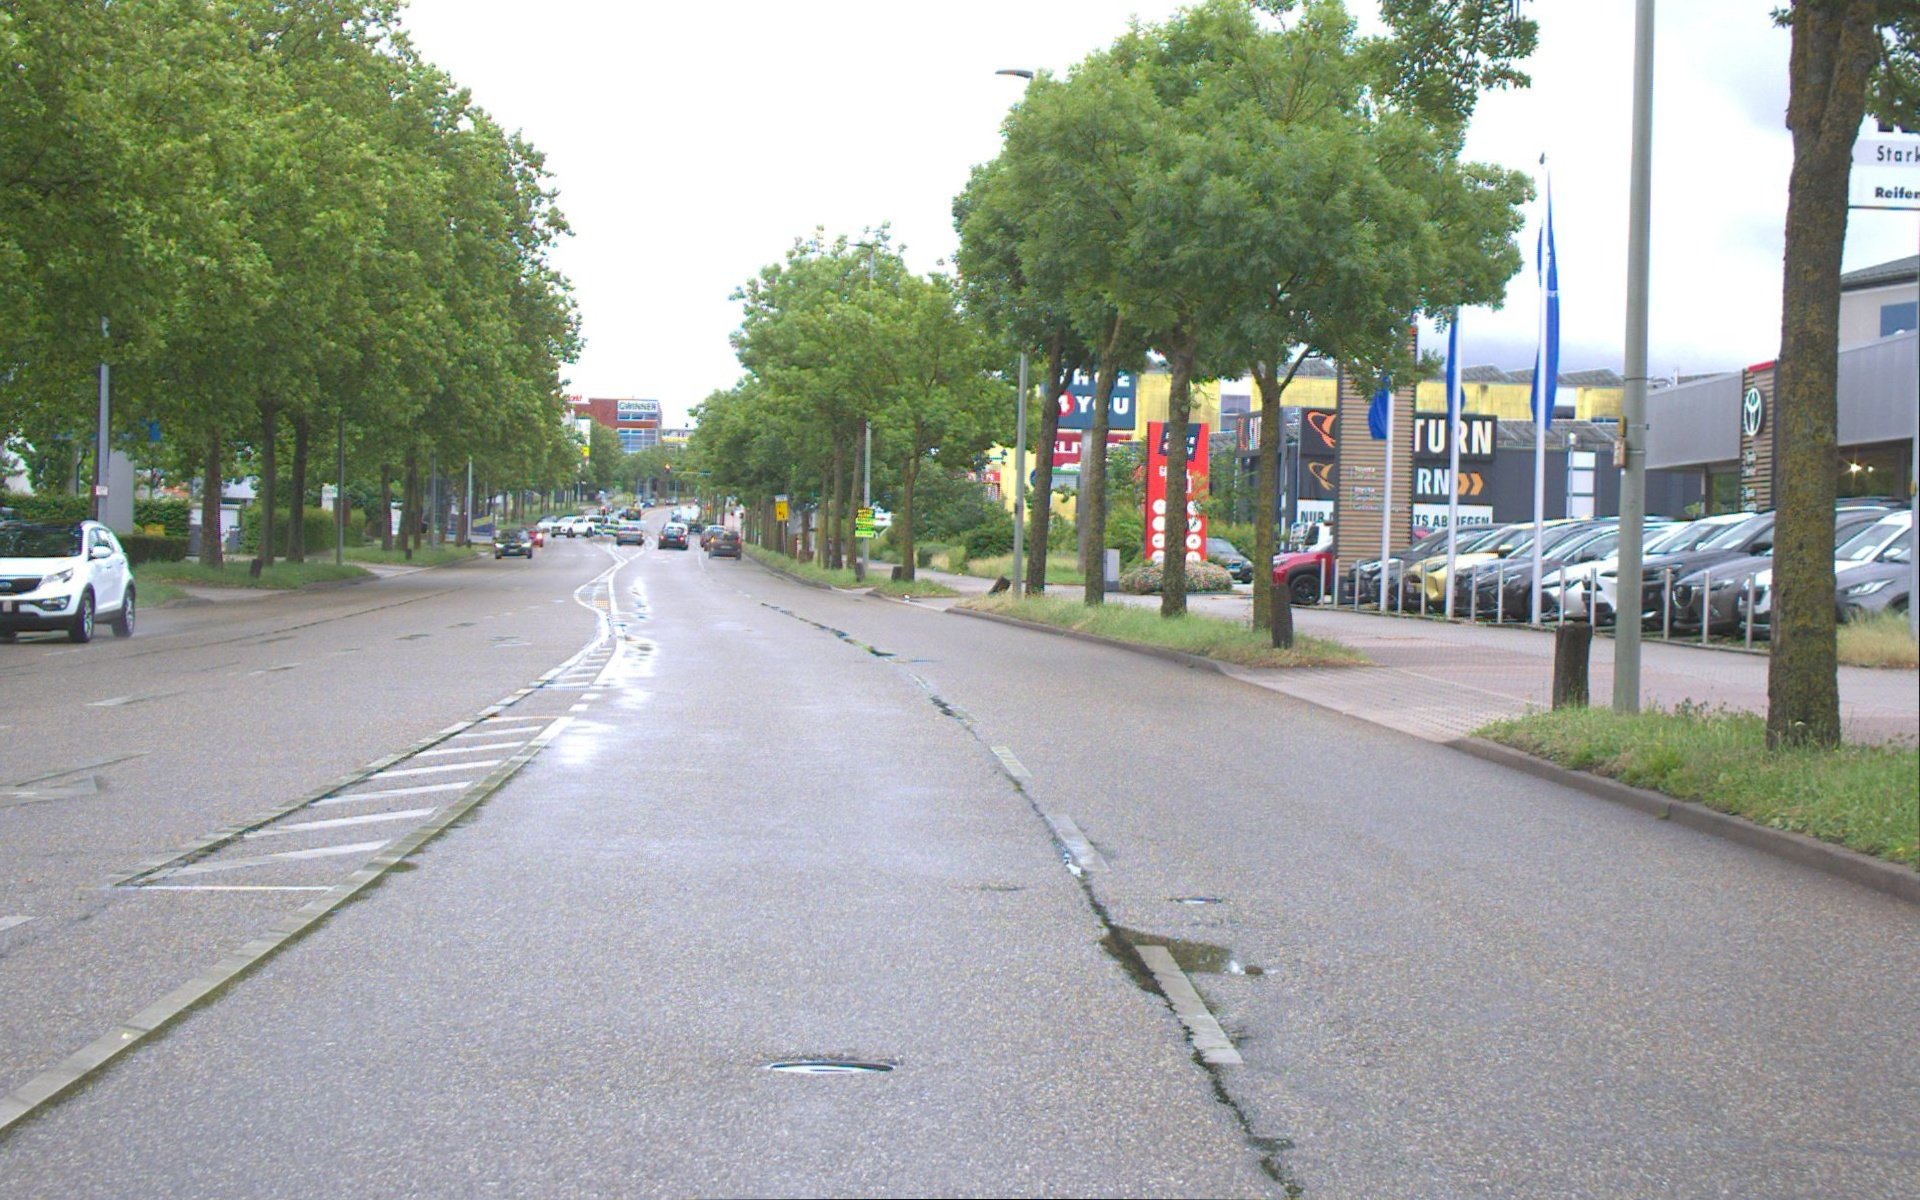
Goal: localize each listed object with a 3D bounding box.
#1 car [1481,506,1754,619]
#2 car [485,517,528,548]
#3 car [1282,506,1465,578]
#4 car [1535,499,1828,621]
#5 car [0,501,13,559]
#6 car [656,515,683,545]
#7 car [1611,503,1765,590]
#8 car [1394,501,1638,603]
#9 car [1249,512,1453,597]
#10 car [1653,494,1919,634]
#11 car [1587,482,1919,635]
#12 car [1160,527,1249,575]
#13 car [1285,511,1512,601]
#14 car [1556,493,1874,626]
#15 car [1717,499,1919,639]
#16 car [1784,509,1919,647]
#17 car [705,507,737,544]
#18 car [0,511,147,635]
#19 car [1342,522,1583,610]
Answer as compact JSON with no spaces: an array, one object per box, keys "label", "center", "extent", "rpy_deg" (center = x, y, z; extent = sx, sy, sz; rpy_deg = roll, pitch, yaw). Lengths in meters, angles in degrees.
[{"label":"car","center":[10.547,-0.614,55.329],"extent":[3.986,1.780,1.812],"rpy_deg":[0,1,-2]},{"label":"car","center":[-21.838,-3.261,165.584],"extent":[1.803,1.458,3.846],"rpy_deg":[0,1,-4]},{"label":"car","center":[11.909,-1.657,99.117],"extent":[4.820,2.007,1.991],"rpy_deg":[0,1,-14]},{"label":"car","center":[10.820,-0.607,51.740],"extent":[3.986,1.780,1.812],"rpy_deg":[0,1,-2]},{"label":"car","center":[-25.308,-1.789,87.235],"extent":[1.823,1.481,3.940],"rpy_deg":[0,1,-6]},{"label":"car","center":[-20.146,-4.859,238.279],"extent":[1.745,2.007,4.001],"rpy_deg":[0,1,-3]},{"label":"car","center":[14.065,-1.058,66.647],"extent":[1.874,1.616,4.123],"rpy_deg":[-1,1,-3]},{"label":"car","center":[9.683,-0.843,59.992],"extent":[3.838,1.560,1.667],"rpy_deg":[-3,1,-7]},{"label":"car","center":[7.964,-0.933,70.193],"extent":[3.840,1.598,1.796],"rpy_deg":[-2,1,-4]},{"label":"car","center":[11.156,-0.492,44.241],"extent":[3.987,1.579,1.812],"rpy_deg":[-3,1,-2]},{"label":"car","center":[10.679,-0.568,46.324],"extent":[3.987,1.780,1.812],"rpy_deg":[-4,1,-2]},{"label":"car","center":[7.853,-1.594,110.698],"extent":[1.577,1.423,4.267],"rpy_deg":[1,2,-14]},{"label":"car","center":[8.304,-0.849,65.354],"extent":[3.986,1.641,1.845],"rpy_deg":[-1,1,-4]},{"label":"car","center":[10.762,-0.597,49.126],"extent":[3.986,1.582,1.812],"rpy_deg":[-4,2,-5]},{"label":"car","center":[11.479,-0.443,41.920],"extent":[3.987,1.538,1.812],"rpy_deg":[-3,1,-2]},{"label":"car","center":[11.626,-0.335,39.345],"extent":[3.832,1.456,1.828],"rpy_deg":[-3,1,-4]},{"label":"car","center":[-13.235,-4.133,190.358],"extent":[1.745,2.007,4.001],"rpy_deg":[1,1,-4]},{"label":"car","center":[-12.550,-0.382,46.914],"extent":[1.928,1.614,4.399],"rpy_deg":[1,1,-1]},{"label":"car","center":[9.040,-0.620,62.051],"extent":[3.986,1.533,1.800],"rpy_deg":[0,1,-4]}]
